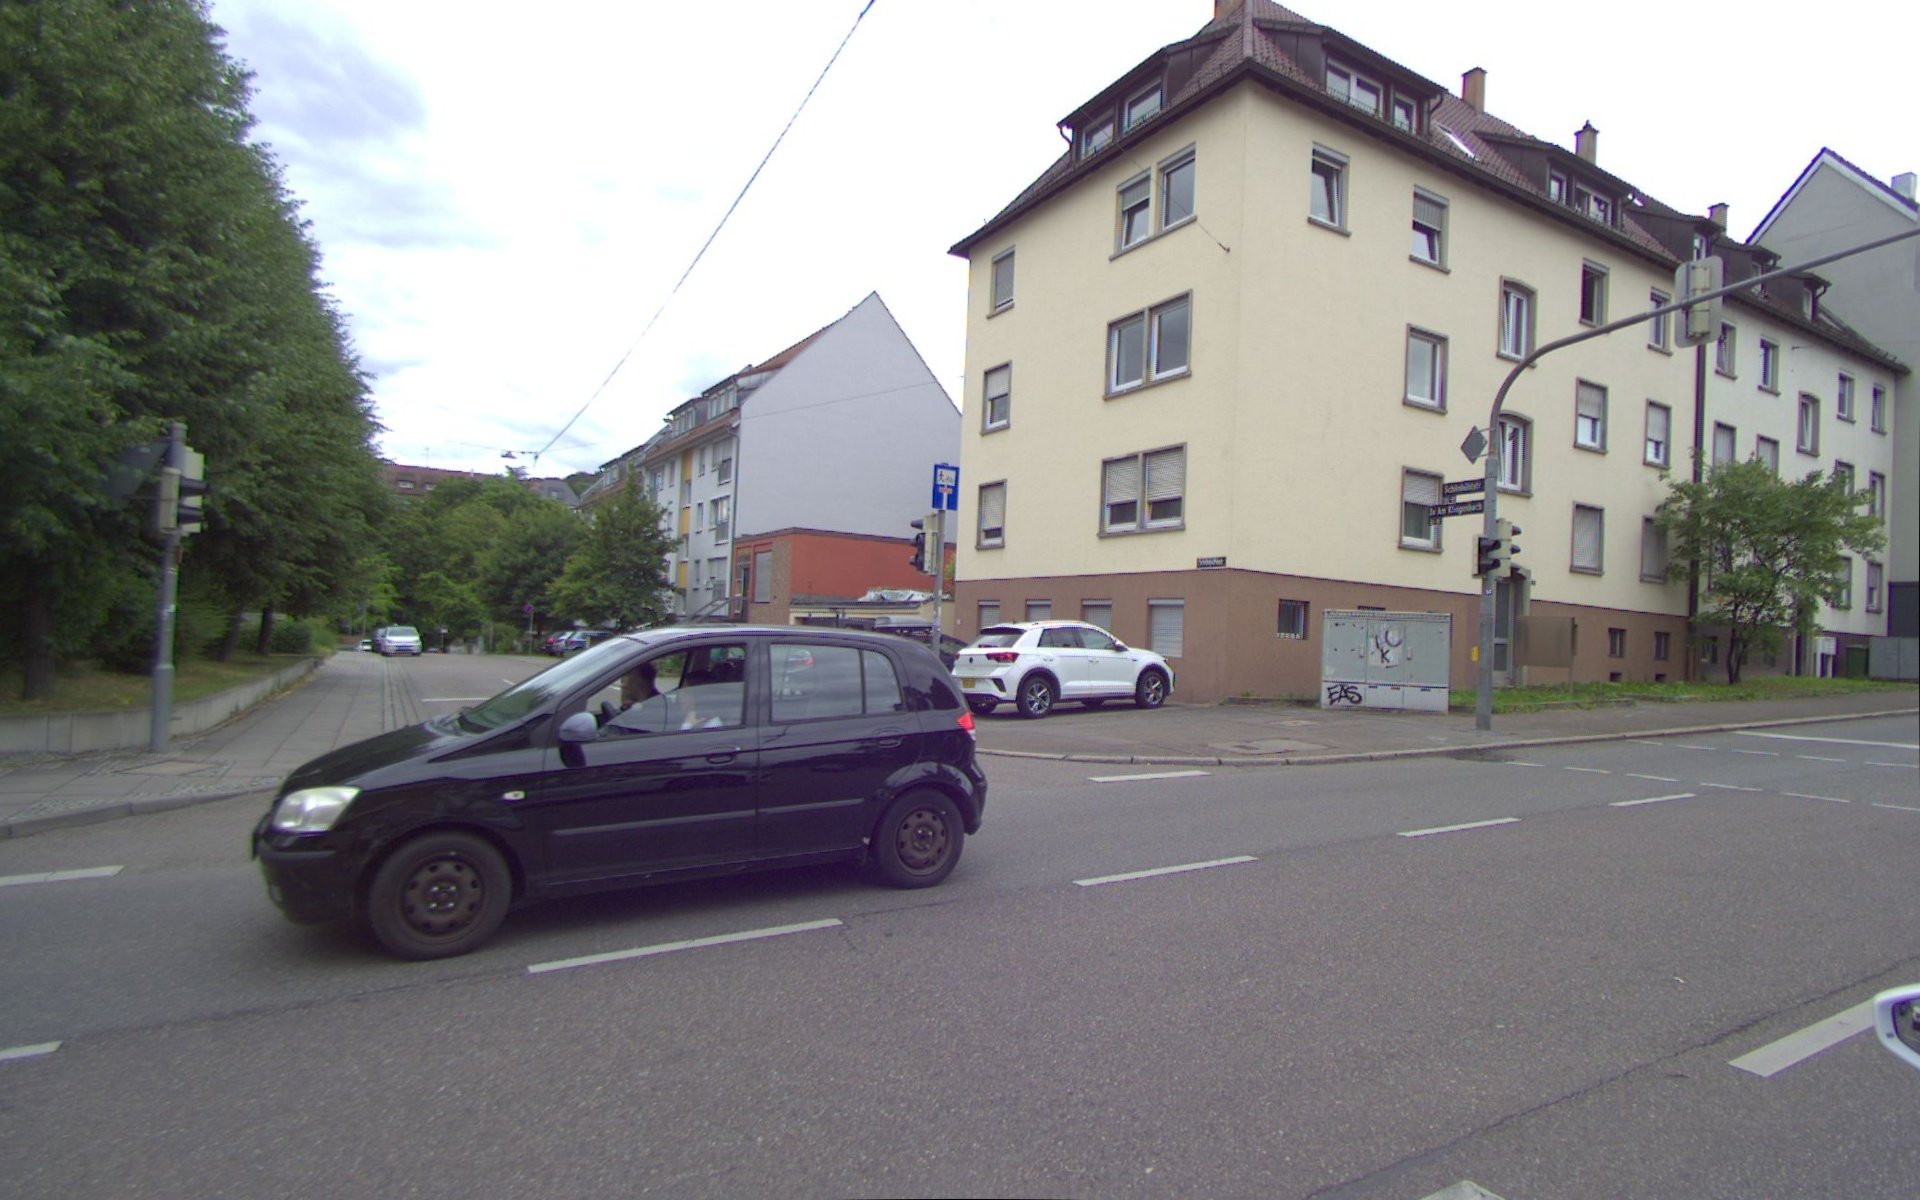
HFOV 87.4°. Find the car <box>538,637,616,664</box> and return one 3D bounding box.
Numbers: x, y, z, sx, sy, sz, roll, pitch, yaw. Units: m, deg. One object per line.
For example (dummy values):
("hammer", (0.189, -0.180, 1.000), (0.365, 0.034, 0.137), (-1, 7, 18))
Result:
("car", (-21.800, 2.873, 57.140), (3.953, 1.380, 1.662), (0, 0, -30))

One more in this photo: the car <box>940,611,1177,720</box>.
("car", (1.756, 1.067, 17.440), (3.959, 1.683, 1.660), (0, -3, -35))

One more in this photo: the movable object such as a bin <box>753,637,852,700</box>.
("movable object such as a bin", (-4.026, 1.707, 25.654), (2.128, 1.448, 1.413), (0, 1, -30))

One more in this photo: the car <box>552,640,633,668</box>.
("car", (-20.118, 2.924, 55.012), (3.953, 1.380, 1.662), (0, 0, -30))

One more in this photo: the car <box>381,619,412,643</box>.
("car", (-36.846, 2.007, 65.625), (1.656, 1.380, 3.966), (0, 0, -31))

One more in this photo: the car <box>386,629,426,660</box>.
("car", (-28.232, 2.221, 51.153), (1.656, 1.380, 3.966), (0, 0, -31))

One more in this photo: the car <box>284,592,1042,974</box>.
("car", (-1.534, 0.799, 5.726), (3.694, 1.538, 1.657), (0, -3, -30))

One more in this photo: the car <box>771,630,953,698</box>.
("car", (-2.275, 1.452, 23.645), (3.953, 1.380, 1.662), (0, 0, -30))

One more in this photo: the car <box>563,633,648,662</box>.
("car", (-18.457, 2.434, 52.332), (3.953, 1.380, 1.662), (0, 0, -30))

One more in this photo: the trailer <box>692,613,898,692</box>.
("trailer", (-4.549, 1.374, 27.840), (5.225, 1.954, 2.220), (0, 1, -29))

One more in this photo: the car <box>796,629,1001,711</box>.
("car", (-1.278, 1.435, 21.389), (4.053, 1.566, 1.662), (0, -3, -30))
